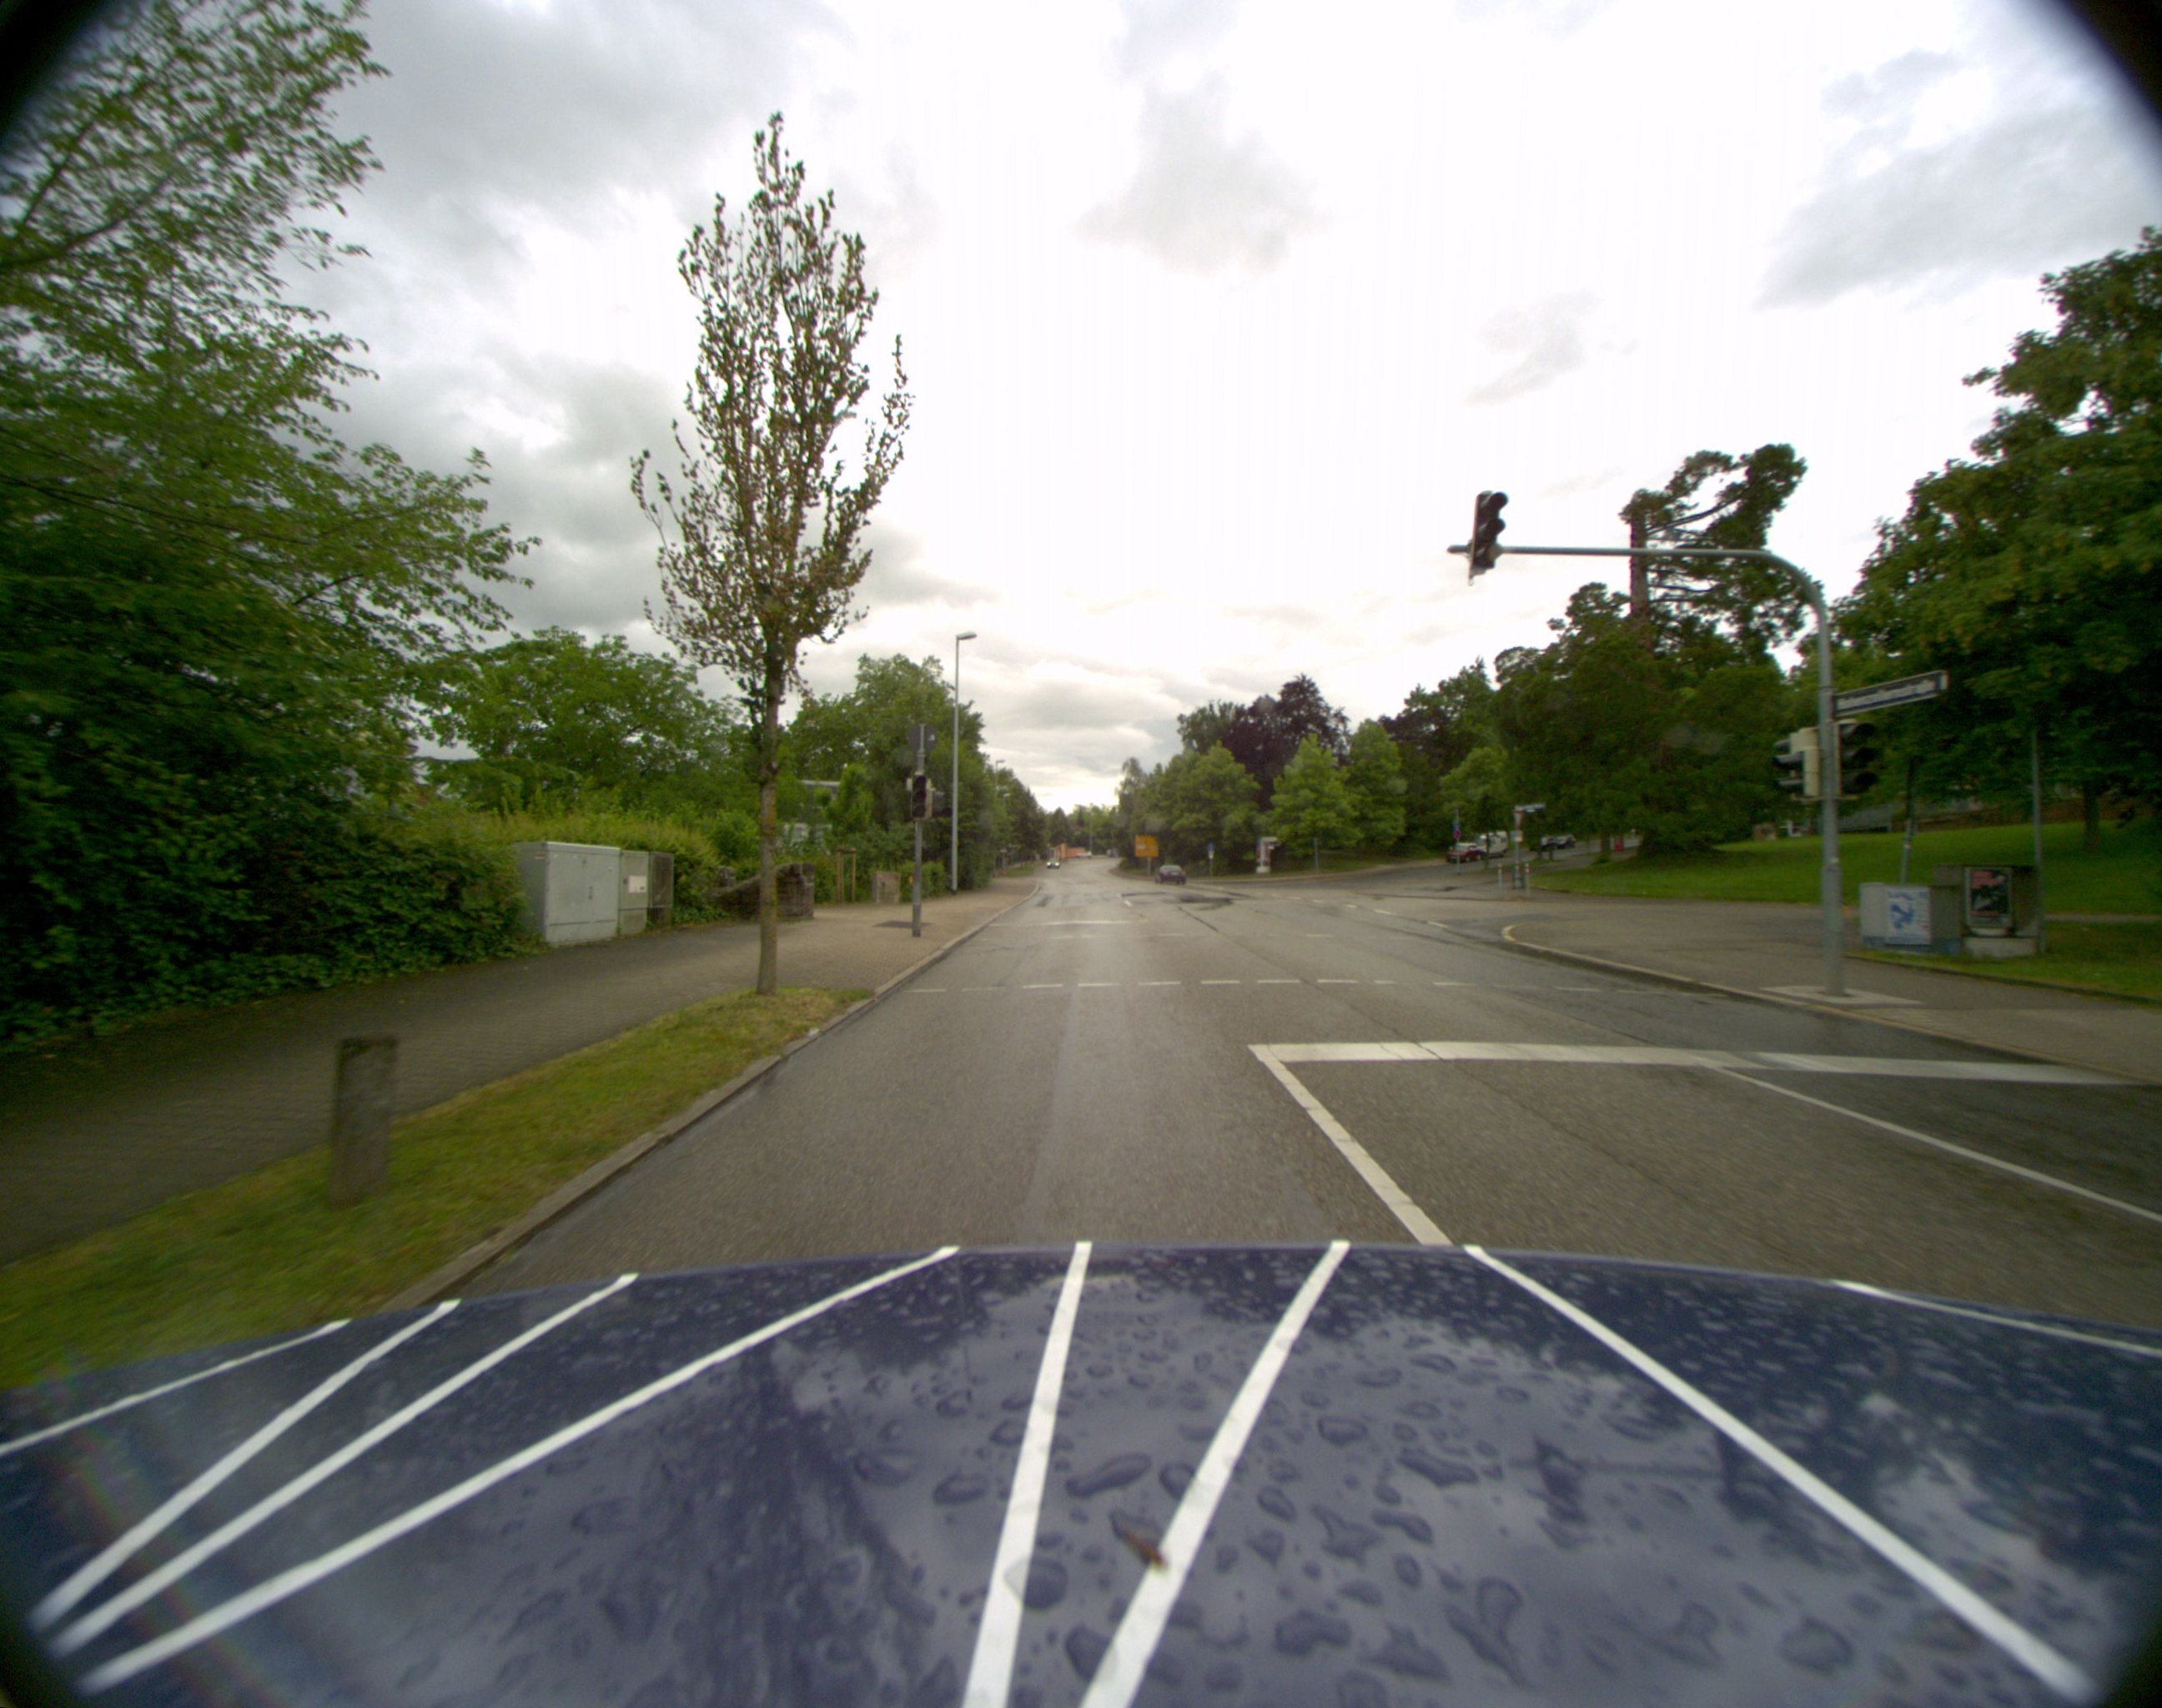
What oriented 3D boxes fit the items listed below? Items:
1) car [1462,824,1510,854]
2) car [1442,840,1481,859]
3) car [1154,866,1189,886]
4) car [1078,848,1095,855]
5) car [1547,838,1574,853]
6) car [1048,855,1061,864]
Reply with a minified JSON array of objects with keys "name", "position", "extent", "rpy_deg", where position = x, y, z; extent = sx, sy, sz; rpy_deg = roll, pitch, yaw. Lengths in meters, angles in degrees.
[{"name":"car","position":[38.481,-1.439,72.088],"extent":[5.682,2.683,2.151],"rpy_deg":[-1,0,-42]},{"name":"car","position":[34.298,-0.432,68.406],"extent":[1.972,1.658,4.008],"rpy_deg":[-1,0,44]},{"name":"car","position":[6.176,1.518,52.443],"extent":[1.665,1.298,4.083],"rpy_deg":[2,-1,-3]},{"name":"car","position":[1.429,-0.682,184.711],"extent":[3.864,1.557,1.728],"rpy_deg":[3,1,8]},{"name":"car","position":[53.739,-0.927,85.156],"extent":[1.822,1.658,4.008],"rpy_deg":[-1,0,43]},{"name":"car","position":[-4.343,0.873,125.717],"extent":[1.861,1.406,4.387],"rpy_deg":[0,-1,3]}]
